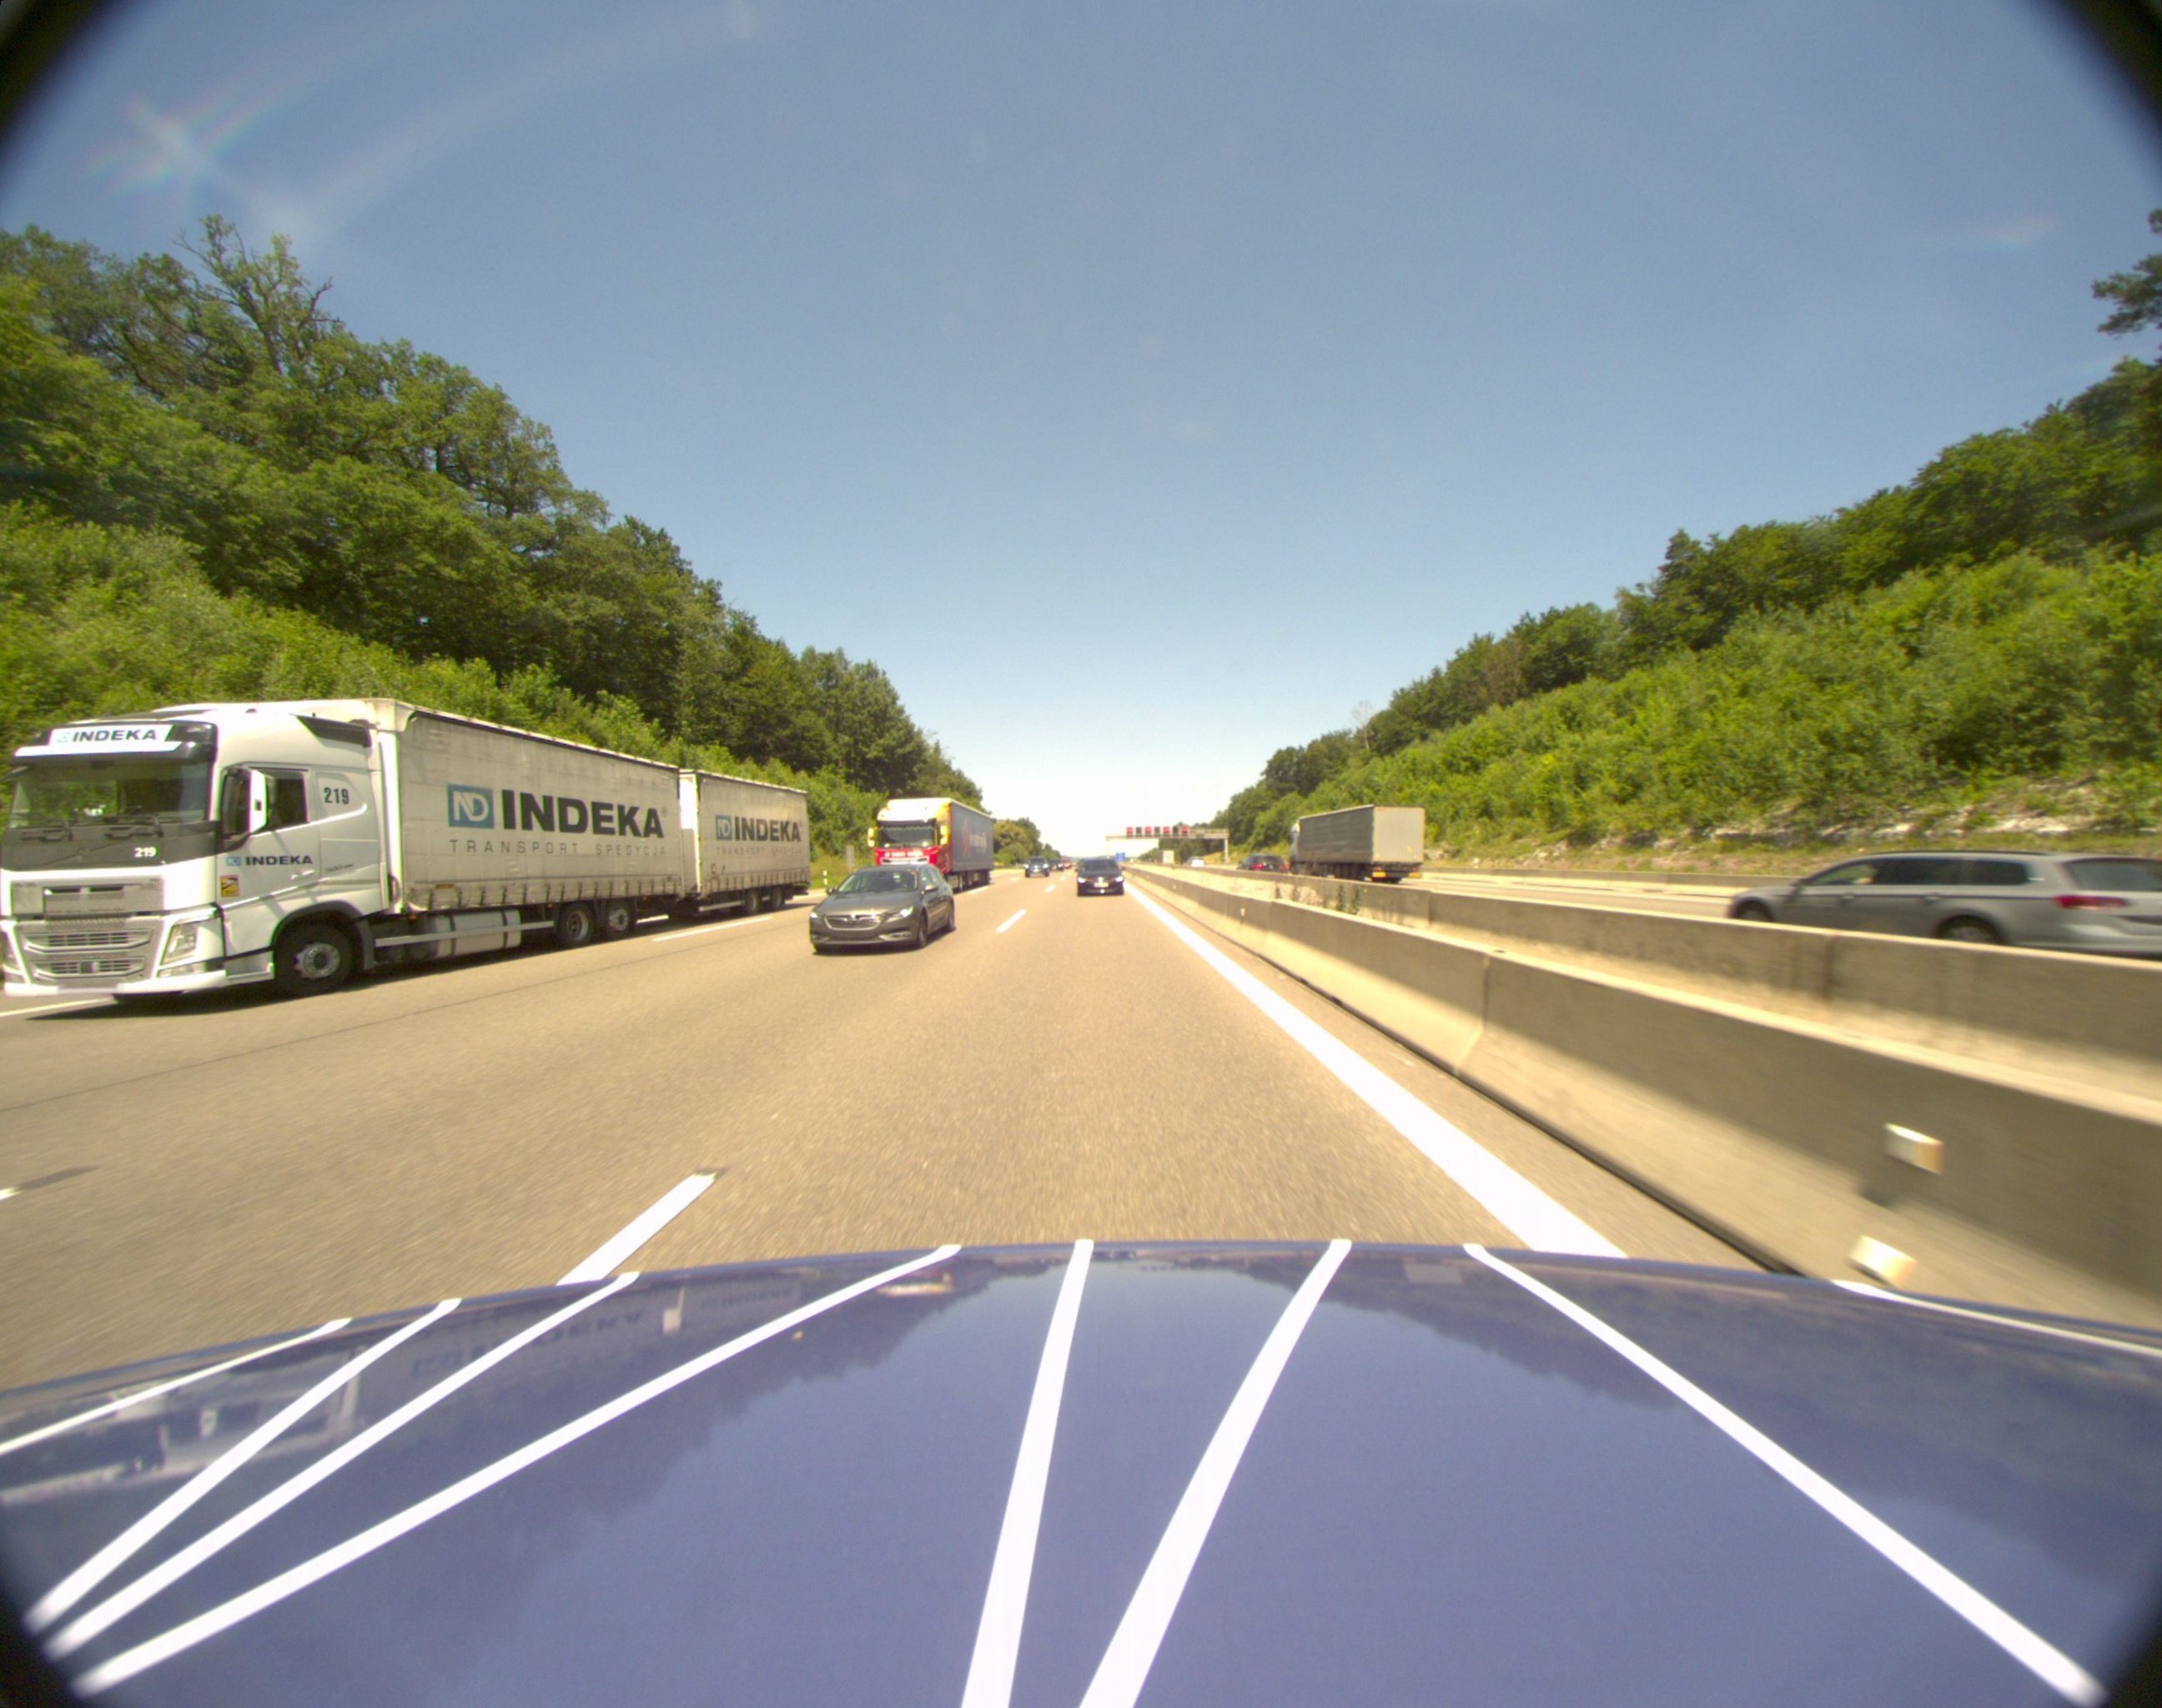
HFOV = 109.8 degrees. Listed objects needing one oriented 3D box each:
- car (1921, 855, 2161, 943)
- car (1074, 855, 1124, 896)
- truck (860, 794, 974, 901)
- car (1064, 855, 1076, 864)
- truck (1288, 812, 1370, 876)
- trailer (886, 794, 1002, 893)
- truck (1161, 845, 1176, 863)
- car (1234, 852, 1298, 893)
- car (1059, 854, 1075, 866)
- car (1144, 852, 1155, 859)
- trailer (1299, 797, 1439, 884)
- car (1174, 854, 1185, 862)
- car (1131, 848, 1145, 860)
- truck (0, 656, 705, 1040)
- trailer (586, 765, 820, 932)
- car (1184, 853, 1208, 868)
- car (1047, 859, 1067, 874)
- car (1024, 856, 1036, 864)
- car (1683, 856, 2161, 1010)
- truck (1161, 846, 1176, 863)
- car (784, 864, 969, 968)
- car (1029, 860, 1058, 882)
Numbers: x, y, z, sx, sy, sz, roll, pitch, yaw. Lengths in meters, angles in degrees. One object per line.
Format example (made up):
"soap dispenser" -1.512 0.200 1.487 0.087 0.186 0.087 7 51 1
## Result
"car" 19.659 0.786 15.081 1.875 1.492 3.719 -1 0 1
"car" 0.703 0.812 29.726 1.777 1.425 4.144 -2 -1 1
"truck" -6.714 -0.236 32.396 3.018 3.958 7.539 -1 0 1
"car" -1.661 0.877 118.405 1.715 1.308 3.490 -2 1 1
"truck" 16.281 -0.636 50.404 3.273 3.959 6.797 0 0 1
"trailer" -6.503 -0.457 39.293 2.926 4.119 14.849 -1 0 1
"truck" 21.766 -0.029 189.746 2.919 4.204 9.863 -1 0 1
"car" 8.381 0.785 34.852 1.875 1.767 4.468 -1 0 1
"car" -1.921 0.867 104.145 1.910 1.504 4.159 -2 1 2
"car" 13.299 0.333 147.170 1.743 1.374 3.871 -1 0 1
"trailer" 16.119 -0.704 44.274 3.108 4.229 13.840 1 0 1
"car" 21.362 0.916 164.506 1.910 1.644 4.160 -1 0 2
"car" 10.038 0.029 133.849 1.998 2.040 5.402 -1 1 1
"truck" -11.095 -0.093 13.815 2.728 4.137 10.968 -2 1 1
"trailer" -10.828 -0.172 23.057 2.585 4.046 8.382 -2 1 1
"car" 12.755 0.676 84.558 1.683 1.539 5.059 -1 0 -1
"car" -2.622 1.330 84.431 1.910 1.504 4.159 -2 1 2
"car" -9.536 1.053 142.064 1.910 1.504 4.159 -1 0 0
"car" 11.263 0.782 10.188 2.033 1.496 5.441 0 0 0
"truck" 21.767 0.181 189.022 2.666 4.204 8.412 -1 0 0
"car" -3.598 1.010 14.564 1.972 1.444 5.224 -3 0 1
"car" -2.924 1.342 60.545 1.910 1.504 4.159 -2 1 2
